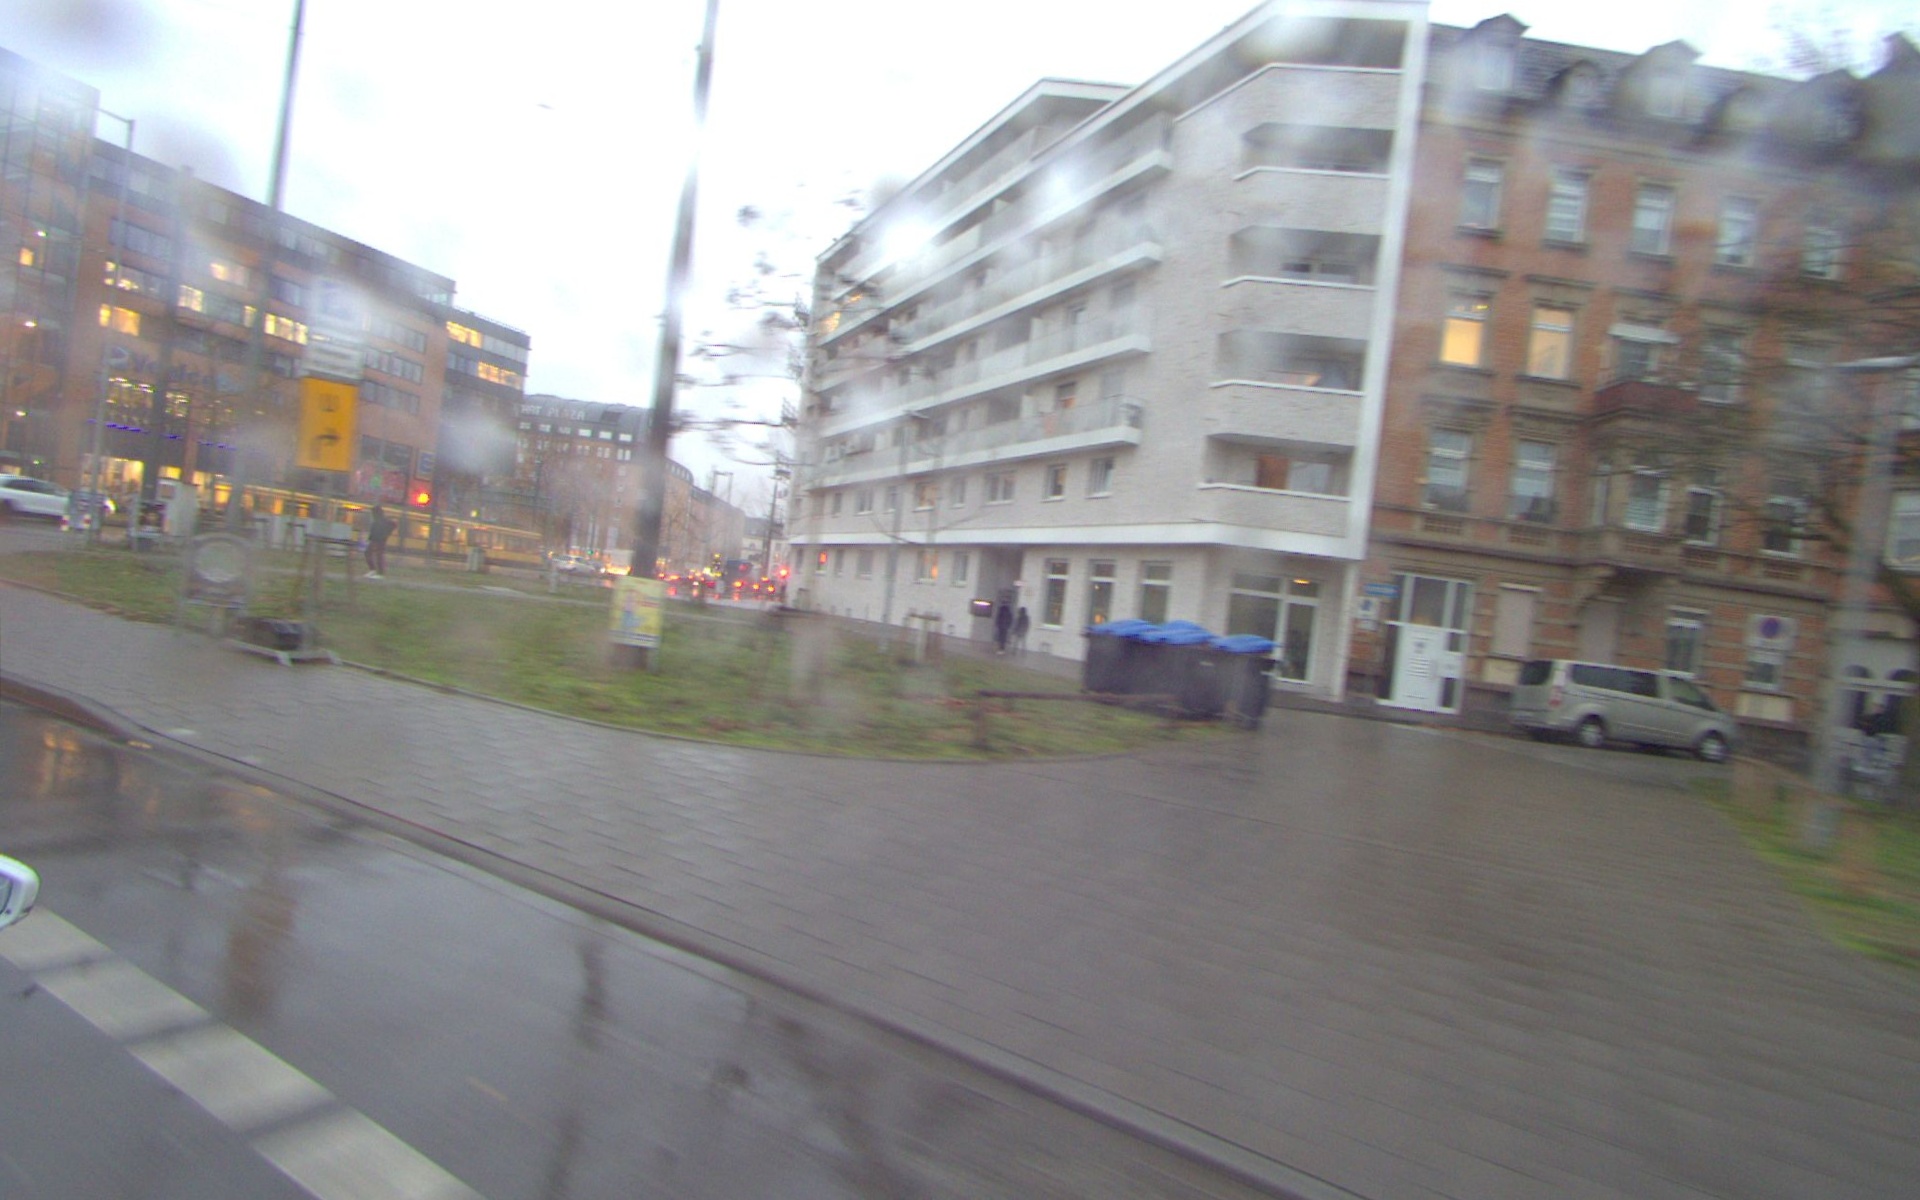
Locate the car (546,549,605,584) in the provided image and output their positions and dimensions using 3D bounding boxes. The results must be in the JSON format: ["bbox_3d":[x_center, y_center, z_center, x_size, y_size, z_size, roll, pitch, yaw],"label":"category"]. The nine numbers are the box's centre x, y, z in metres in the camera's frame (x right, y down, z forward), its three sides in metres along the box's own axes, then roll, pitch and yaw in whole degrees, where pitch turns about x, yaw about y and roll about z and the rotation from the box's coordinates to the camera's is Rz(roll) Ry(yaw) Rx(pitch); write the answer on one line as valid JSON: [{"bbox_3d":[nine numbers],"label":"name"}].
[{"bbox_3d":[-29.850,-2.557,78.173,1.962,2.036,4.005,8,-2,18],"label":"car"}]

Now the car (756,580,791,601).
[{"bbox_3d":[-18.892,-0.933,102.090,1.962,1.600,4.094,8,-2,12],"label":"car"}]

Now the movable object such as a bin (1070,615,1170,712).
[{"bbox_3d":[2.812,1.111,17.811,1.018,1.513,1.321,7,0,-25],"label":"movable object such as a bin"}]

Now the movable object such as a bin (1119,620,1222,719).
[{"bbox_3d":[3.466,1.139,16.630,1.004,1.434,1.216,6,1,-24],"label":"movable object such as a bin"}]

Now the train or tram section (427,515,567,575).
[{"bbox_3d":[-36.160,-4.197,79.552,2.292,3.300,13.007,7,-1,13],"label":"train or tram section"}]

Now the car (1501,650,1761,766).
[{"bbox_3d":[15.857,2.522,23.962,4.663,1.940,2.001,9,-2,-1],"label":"car"}]

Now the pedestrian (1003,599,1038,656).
[{"bbox_3d":[1.946,0.892,32.436,0.671,1.733,0.624,9,-2,-32],"label":"pedestrian"}]

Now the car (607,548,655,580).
[{"bbox_3d":[-28.052,-3.051,85.963,1.963,2.036,4.954,8,-2,3],"label":"car"}]

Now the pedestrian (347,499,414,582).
[{"bbox_3d":[-15.098,-1.534,26.214,1.166,1.946,0.889,10,-2,-39],"label":"pedestrian"}]

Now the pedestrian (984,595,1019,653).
[{"bbox_3d":[1.328,0.764,32.052,0.671,1.733,0.601,9,-2,-32],"label":"pedestrian"}]

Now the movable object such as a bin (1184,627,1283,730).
[{"bbox_3d":[4.553,1.294,16.793,1.022,1.507,1.037,9,-2,-16],"label":"movable object such as a bin"}]

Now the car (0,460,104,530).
[{"bbox_3d":[-35.487,-4.081,37.973,1.962,2.036,4.377,8,-2,12],"label":"car"}]
